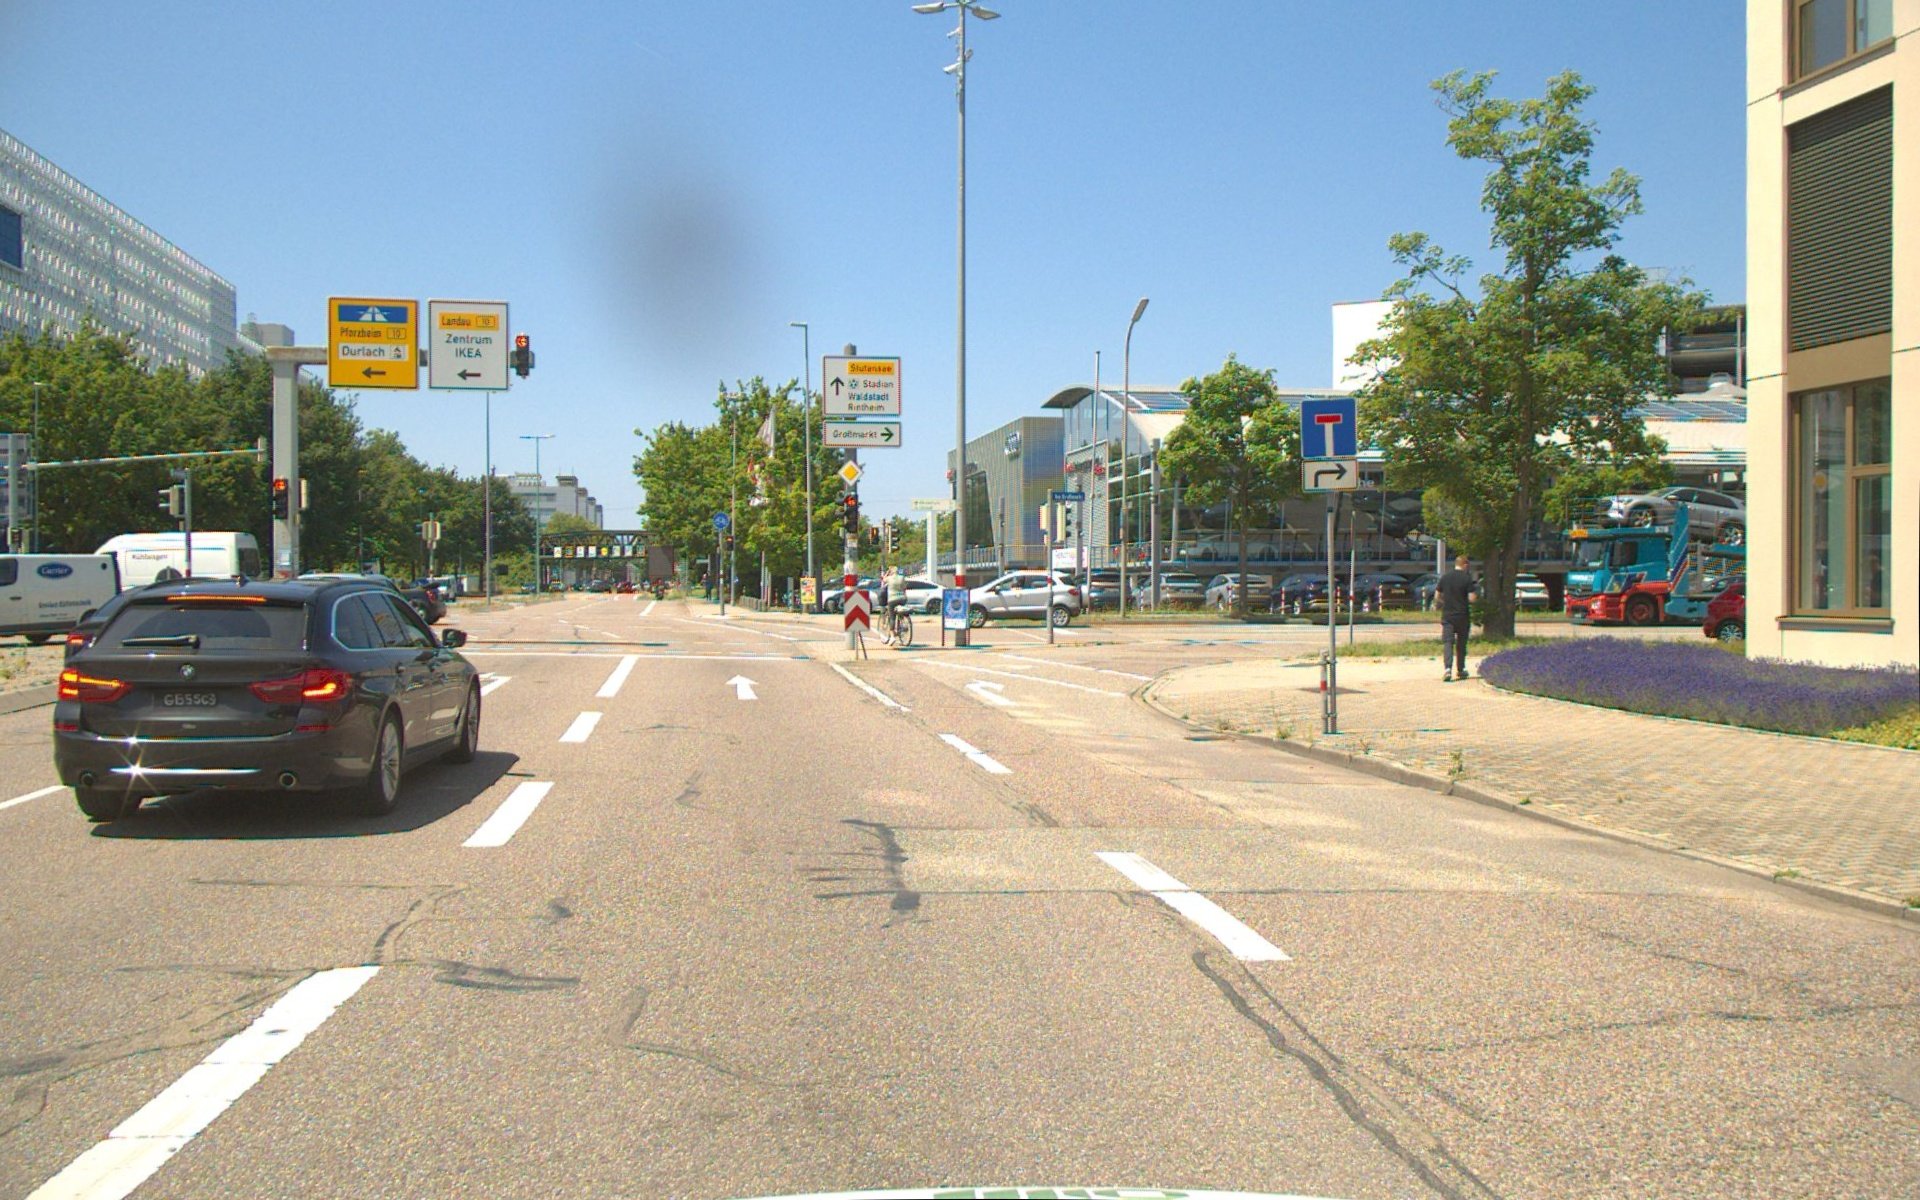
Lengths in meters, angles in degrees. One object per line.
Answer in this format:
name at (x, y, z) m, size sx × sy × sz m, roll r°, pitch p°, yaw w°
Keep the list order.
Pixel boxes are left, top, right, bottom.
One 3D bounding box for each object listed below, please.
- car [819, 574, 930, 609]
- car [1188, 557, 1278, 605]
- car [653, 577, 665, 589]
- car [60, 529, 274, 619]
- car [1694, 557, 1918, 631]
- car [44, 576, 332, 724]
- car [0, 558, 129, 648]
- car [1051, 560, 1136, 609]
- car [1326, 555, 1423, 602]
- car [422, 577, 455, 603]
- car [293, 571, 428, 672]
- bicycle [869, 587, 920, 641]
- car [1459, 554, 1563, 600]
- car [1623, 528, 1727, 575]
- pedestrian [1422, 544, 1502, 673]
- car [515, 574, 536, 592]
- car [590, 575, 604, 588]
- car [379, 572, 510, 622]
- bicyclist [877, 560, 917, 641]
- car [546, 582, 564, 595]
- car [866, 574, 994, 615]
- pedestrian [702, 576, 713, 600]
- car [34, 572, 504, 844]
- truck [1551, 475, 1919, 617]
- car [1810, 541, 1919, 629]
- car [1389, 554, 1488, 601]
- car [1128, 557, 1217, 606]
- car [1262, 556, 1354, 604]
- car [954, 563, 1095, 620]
car at (-3.810, -0.404, 73.194) m, size 4.658 × 1.482 × 1.994 m, roll -1°, pitch 1°, yaw -12°
car at (9.981, -0.730, 60.765) m, size 1.851 × 1.668 × 4.514 m, roll -1°, pitch 2°, yaw -10°
car at (-44.710, -2.459, 245.545) m, size 1.740 × 1.758 × 3.990 m, roll -1°, pitch 1°, yaw -10°
car at (-23.536, -0.768, 49.251) m, size 5.378 × 2.611 × 2.000 m, roll 0°, pitch 0°, yaw 0°
car at (17.633, -0.122, 34.539) m, size 3.925 × 1.460 × 1.602 m, roll 0°, pitch 1°, yaw 40°
car at (-8.586, 0.466, 18.836) m, size 1.715 × 1.414 × 4.525 m, roll 0°, pitch 2°, yaw -8°
car at (-20.515, 0.042, 35.375) m, size 1.794 × 1.882 × 4.838 m, roll 1°, pitch 1°, yaw 24°
car at (4.769, -0.591, 59.631) m, size 1.957 × 1.668 × 4.547 m, roll -1°, pitch 2°, yaw -10°
car at (15.450, -0.828, 61.828) m, size 1.795 × 1.668 × 4.462 m, roll 0°, pitch 2°, yaw -11°
car at (-42.667, -0.842, 135.378) m, size 1.957 × 2.042 × 4.753 m, roll -1°, pitch 1°, yaw -10°
car at (-9.709, 0.295, 27.037) m, size 1.768 × 1.520 × 3.983 m, roll 0°, pitch 1°, yaw -16°
bicycle at (-1.486, 0.296, 37.221) m, size 0.773 × 1.147 × 1.914 m, roll 0°, pitch 1°, yaw -14°
car at (20.709, -0.895, 62.342) m, size 1.794 × 1.668 × 4.464 m, roll -1°, pitch 2°, yaw -10°
car at (28.517, -1.938, 66.081) m, size 3.622 × 1.808 × 1.749 m, roll 0°, pitch 1°, yaw 17°
pedestrian at (7.527, 0.122, 24.809) m, size 0.859 × 1.877 × 0.763 m, roll -2°, pitch 1°, yaw -38°
car at (-53.666, -2.105, 204.542) m, size 1.955 × 2.049 × 3.994 m, roll 0°, pitch -1°, yaw -7°
car at (-50.017, -2.500, 228.121) m, size 1.740 × 1.758 × 3.990 m, roll -1°, pitch 1°, yaw -10°
car at (-14.583, -0.094, 46.927) m, size 3.303 × 1.381 × 1.622 m, roll 0°, pitch 0°, yaw -7°
bicyclist at (-1.417, 0.007, 37.025) m, size 0.721 × 1.779 × 0.751 m, roll 1°, pitch 1°, yaw -15°
car at (-55.748, -1.558, 227.620) m, size 1.890 × 1.694 × 4.082 m, roll -1°, pitch 1°, yaw -8°
car at (-1.172, -0.232, 62.942) m, size 4.653 × 1.482 × 1.996 m, roll -1°, pitch 1°, yaw -9°
pedestrian at (-16.312, -0.775, 106.709) m, size 0.656 × 1.537 × 0.734 m, roll -1°, pitch 1°, yaw -11°
car at (-4.546, 0.567, 11.696) m, size 1.765 × 1.491 × 4.618 m, roll -1°, pitch 1°, yaw -6°
truck at (23.771, -1.686, 50.734) m, size 10.416 × 4.153 × 3.096 m, roll -1°, pitch 1°, yaw -7°
car at (21.012, -0.332, 35.395) m, size 4.811 × 1.847 × 1.698 m, roll 0°, pitch 1°, yaw 38°
car at (17.943, -0.872, 62.256) m, size 1.794 × 1.668 × 4.464 m, roll -1°, pitch 2°, yaw -10°
car at (7.698, -0.710, 60.281) m, size 1.957 × 1.668 × 4.431 m, roll -1°, pitch 2°, yaw -10°
car at (12.838, -0.770, 61.255) m, size 1.794 × 1.668 × 4.464 m, roll -1°, pitch 2°, yaw -10°
car at (1.891, -0.260, 49.205) m, size 4.109 × 1.680 × 1.715 m, roll 0°, pitch 1°, yaw 0°
